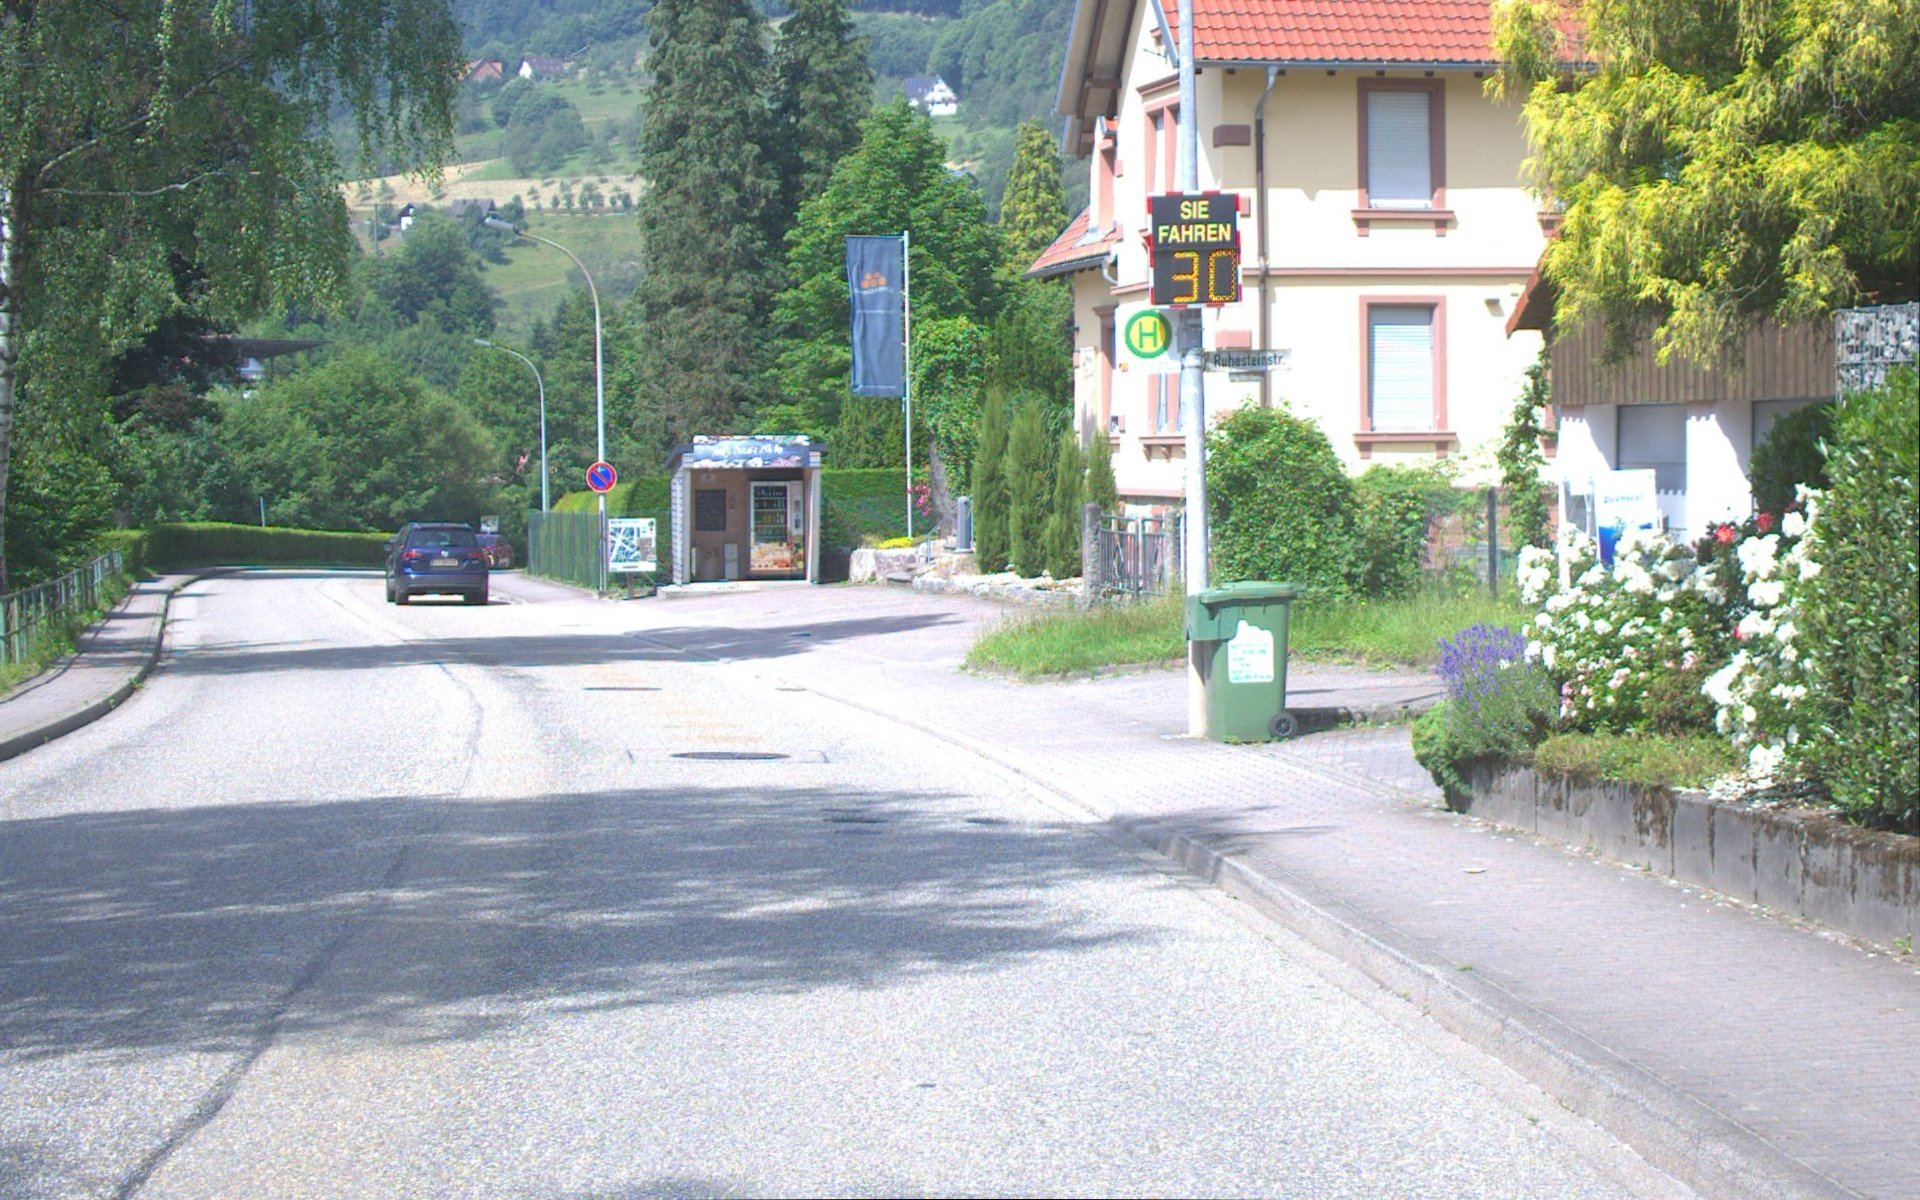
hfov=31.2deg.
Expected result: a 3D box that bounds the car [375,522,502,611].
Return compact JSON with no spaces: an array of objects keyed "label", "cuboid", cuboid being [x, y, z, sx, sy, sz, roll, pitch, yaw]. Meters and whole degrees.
[{"label":"car","cuboid":[-10.504,-0.690,69.041,1.919,1.692,3.789,-1,1,-17]}]

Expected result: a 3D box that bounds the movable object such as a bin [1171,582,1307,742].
[{"label":"movable object such as a bin","cuboid":[1.886,0.415,23.285,0.809,1.039,0.579,-1,2,-6]}]

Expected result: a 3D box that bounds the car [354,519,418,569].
[{"label":"car","cuboid":[-16.586,-1.624,99.398,1.628,1.417,3.399,0,1,-6]}]
